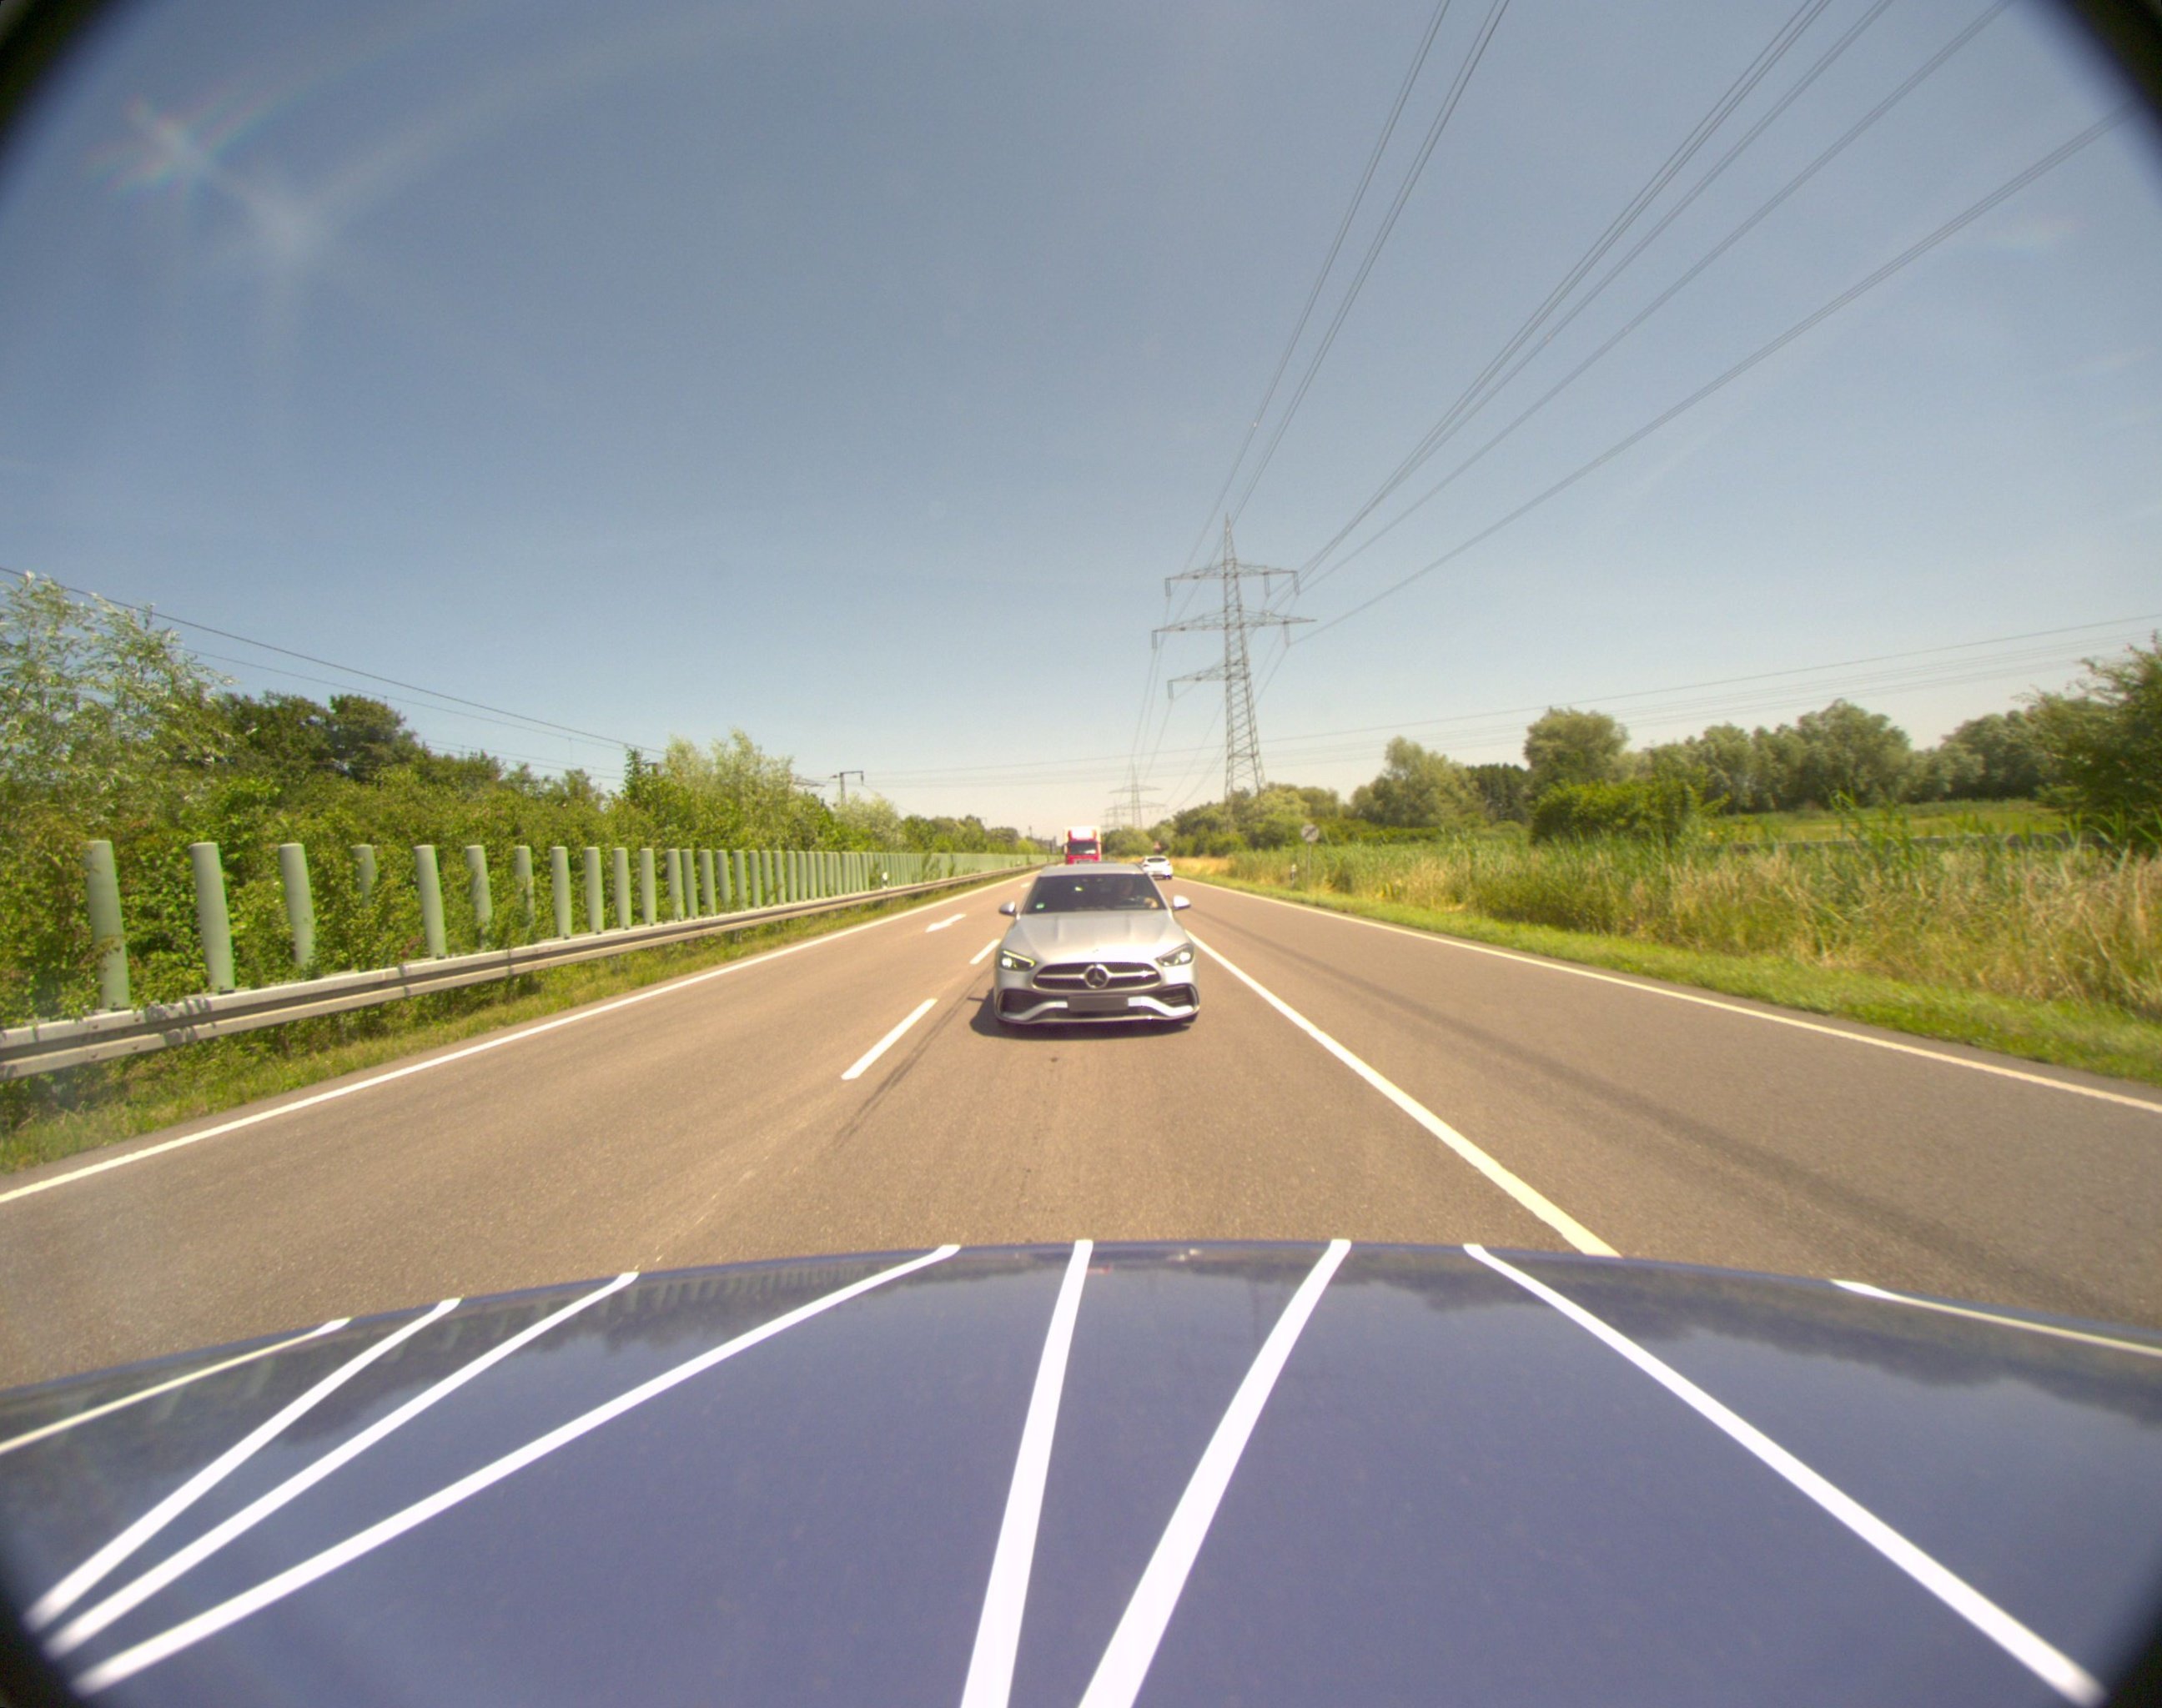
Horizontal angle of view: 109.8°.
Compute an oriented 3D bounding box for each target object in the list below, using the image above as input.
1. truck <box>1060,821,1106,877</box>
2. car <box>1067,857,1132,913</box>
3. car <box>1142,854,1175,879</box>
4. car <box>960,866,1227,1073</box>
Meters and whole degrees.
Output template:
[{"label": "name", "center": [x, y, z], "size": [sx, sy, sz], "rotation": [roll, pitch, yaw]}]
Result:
[{"label": "truck", "center": [0.187, -0.333, 55.314], "size": [2.907, 3.641, 7.156], "rotation": [-4, 0, 1]}, {"label": "car", "center": [0.560, 0.843, 22.478], "size": [1.698, 1.385, 4.468], "rotation": [-2, 0, 2]}, {"label": "car", "center": [4.726, 0.736, 47.008], "size": [1.729, 1.432, 4.249], "rotation": [-2, 0, 2]}, {"label": "car", "center": [0.135, 0.921, 8.043], "size": [1.998, 1.437, 4.467], "rotation": [-2, 0, 1]}]
